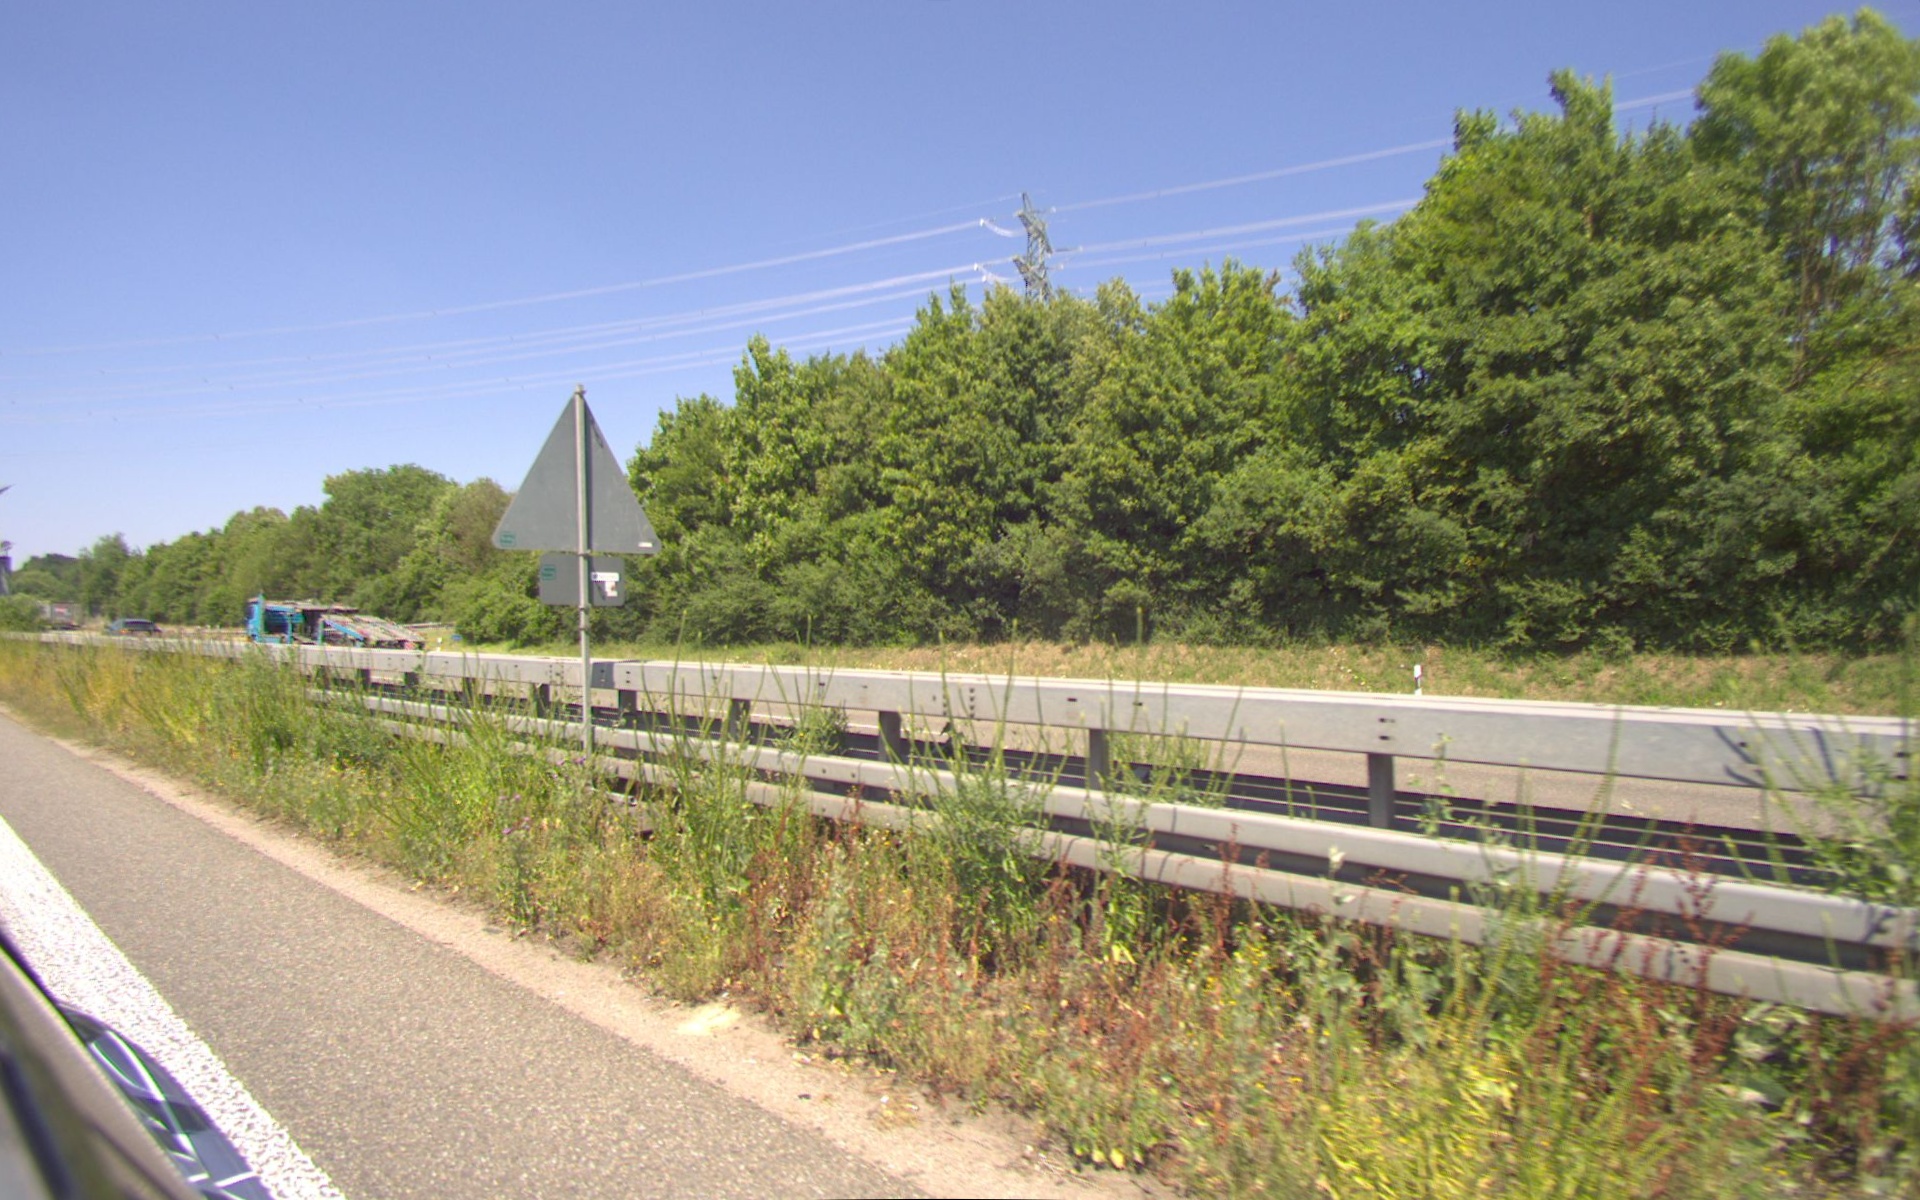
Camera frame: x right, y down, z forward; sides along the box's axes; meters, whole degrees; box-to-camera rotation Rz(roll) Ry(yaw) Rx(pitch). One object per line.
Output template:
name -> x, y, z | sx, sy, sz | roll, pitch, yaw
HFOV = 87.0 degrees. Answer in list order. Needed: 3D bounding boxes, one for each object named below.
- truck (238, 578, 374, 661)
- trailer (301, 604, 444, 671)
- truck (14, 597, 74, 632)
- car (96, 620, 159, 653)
truck -> -33.529, 1.005, 51.629 | 10.785, 3.831, 2.964 | -1, -2, 41
trailer -> -26.303, 1.564, 45.109 | 8.530, 2.659, 3.112 | -1, 0, 42
truck -> -133.244, 2.209, 147.116 | 14.504, 4.374, 2.971 | -3, -3, 34
car -> -43.904, 1.897, 53.334 | 4.857, 1.669, 1.706 | -1, -3, 41
